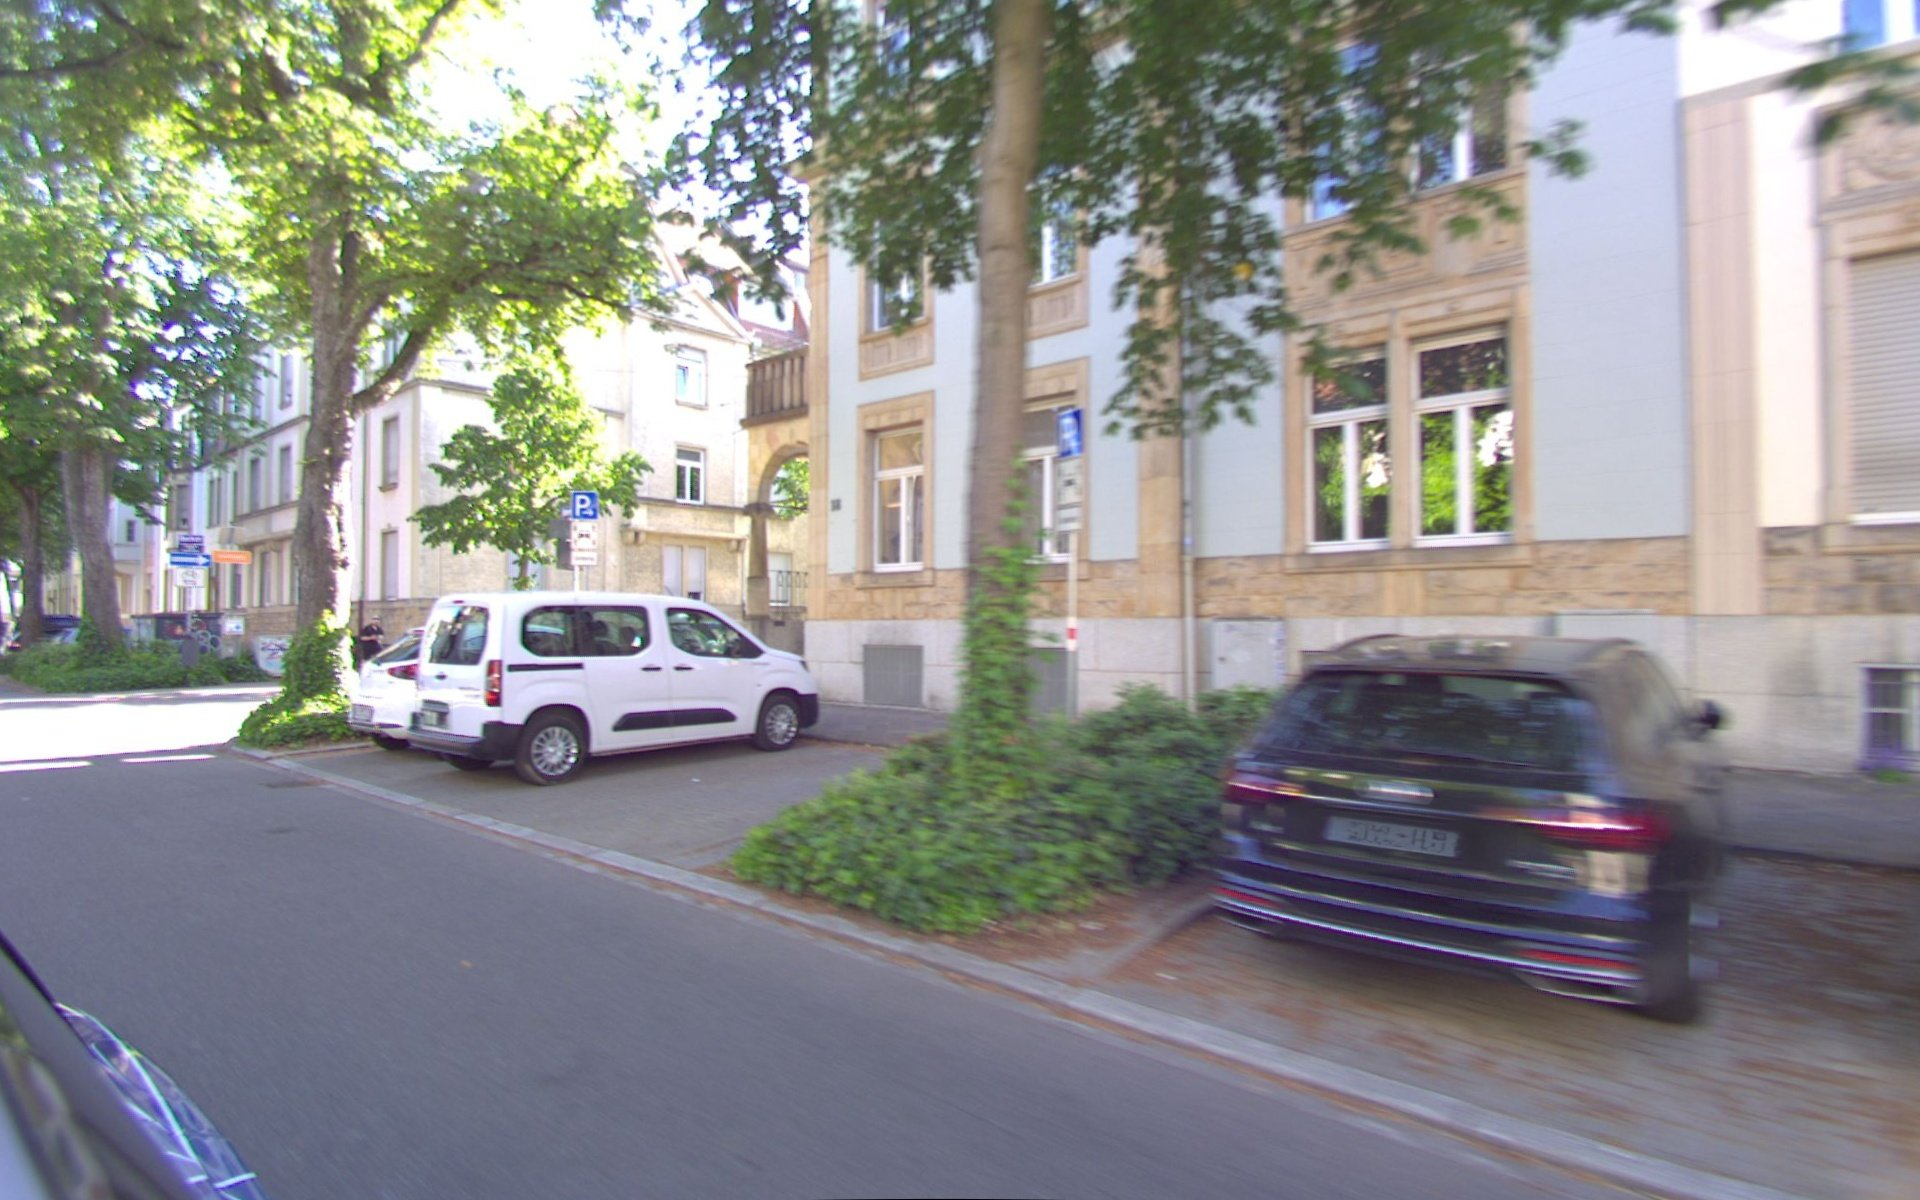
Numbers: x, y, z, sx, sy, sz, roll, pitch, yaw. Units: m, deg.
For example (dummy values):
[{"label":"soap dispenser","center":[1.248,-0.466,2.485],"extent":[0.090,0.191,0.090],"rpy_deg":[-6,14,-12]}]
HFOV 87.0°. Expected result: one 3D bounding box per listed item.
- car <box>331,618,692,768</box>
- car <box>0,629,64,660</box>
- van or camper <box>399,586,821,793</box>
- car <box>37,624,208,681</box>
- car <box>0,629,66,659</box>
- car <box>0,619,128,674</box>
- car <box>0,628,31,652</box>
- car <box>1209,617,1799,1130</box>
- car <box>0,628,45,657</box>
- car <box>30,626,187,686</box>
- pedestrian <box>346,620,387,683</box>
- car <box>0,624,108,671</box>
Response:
[{"label":"car","center":[-5.340,0.996,12.395],"extent":[1.720,1.528,3.687],"rpy_deg":[-1,-1,40]},{"label":"car","center":[-44.278,2.071,47.244],"extent":[1.541,1.440,3.452],"rpy_deg":[-1,-2,40]},{"label":"van or camper","center":[-3.557,0.821,10.822],"extent":[1.808,1.787,3.903],"rpy_deg":[-3,-2,40]},{"label":"car","center":[-25.597,1.558,31.025],"extent":[3.939,1.443,1.806],"rpy_deg":[-1,1,-42]},{"label":"car","center":[-46.967,2.166,50.422],"extent":[1.541,1.440,3.452],"rpy_deg":[-1,-2,40]},{"label":"car","center":[-33.079,1.665,37.316],"extent":[1.820,1.907,3.452],"rpy_deg":[-2,-2,40]},{"label":"car","center":[-58.012,2.386,60.498],"extent":[1.541,1.440,3.452],"rpy_deg":[-1,-2,40]},{"label":"car","center":[2.972,0.820,4.999],"extent":[1.709,1.411,4.097],"rpy_deg":[-2,-1,41]},{"label":"car","center":[-48.879,2.158,51.347],"extent":[1.541,1.440,3.452],"rpy_deg":[-1,-2,40]},{"label":"car","center":[-29.081,1.864,34.754],"extent":[3.934,1.775,2.005],"rpy_deg":[-1,1,-35]},{"label":"pedestrian","center":[-15.595,1.332,26.596],"extent":[0.978,1.620,0.658],"rpy_deg":[-1,-2,41]},{"label":"car","center":[-34.757,1.776,38.416],"extent":[1.681,1.704,3.452],"rpy_deg":[-2,-2,40]}]
